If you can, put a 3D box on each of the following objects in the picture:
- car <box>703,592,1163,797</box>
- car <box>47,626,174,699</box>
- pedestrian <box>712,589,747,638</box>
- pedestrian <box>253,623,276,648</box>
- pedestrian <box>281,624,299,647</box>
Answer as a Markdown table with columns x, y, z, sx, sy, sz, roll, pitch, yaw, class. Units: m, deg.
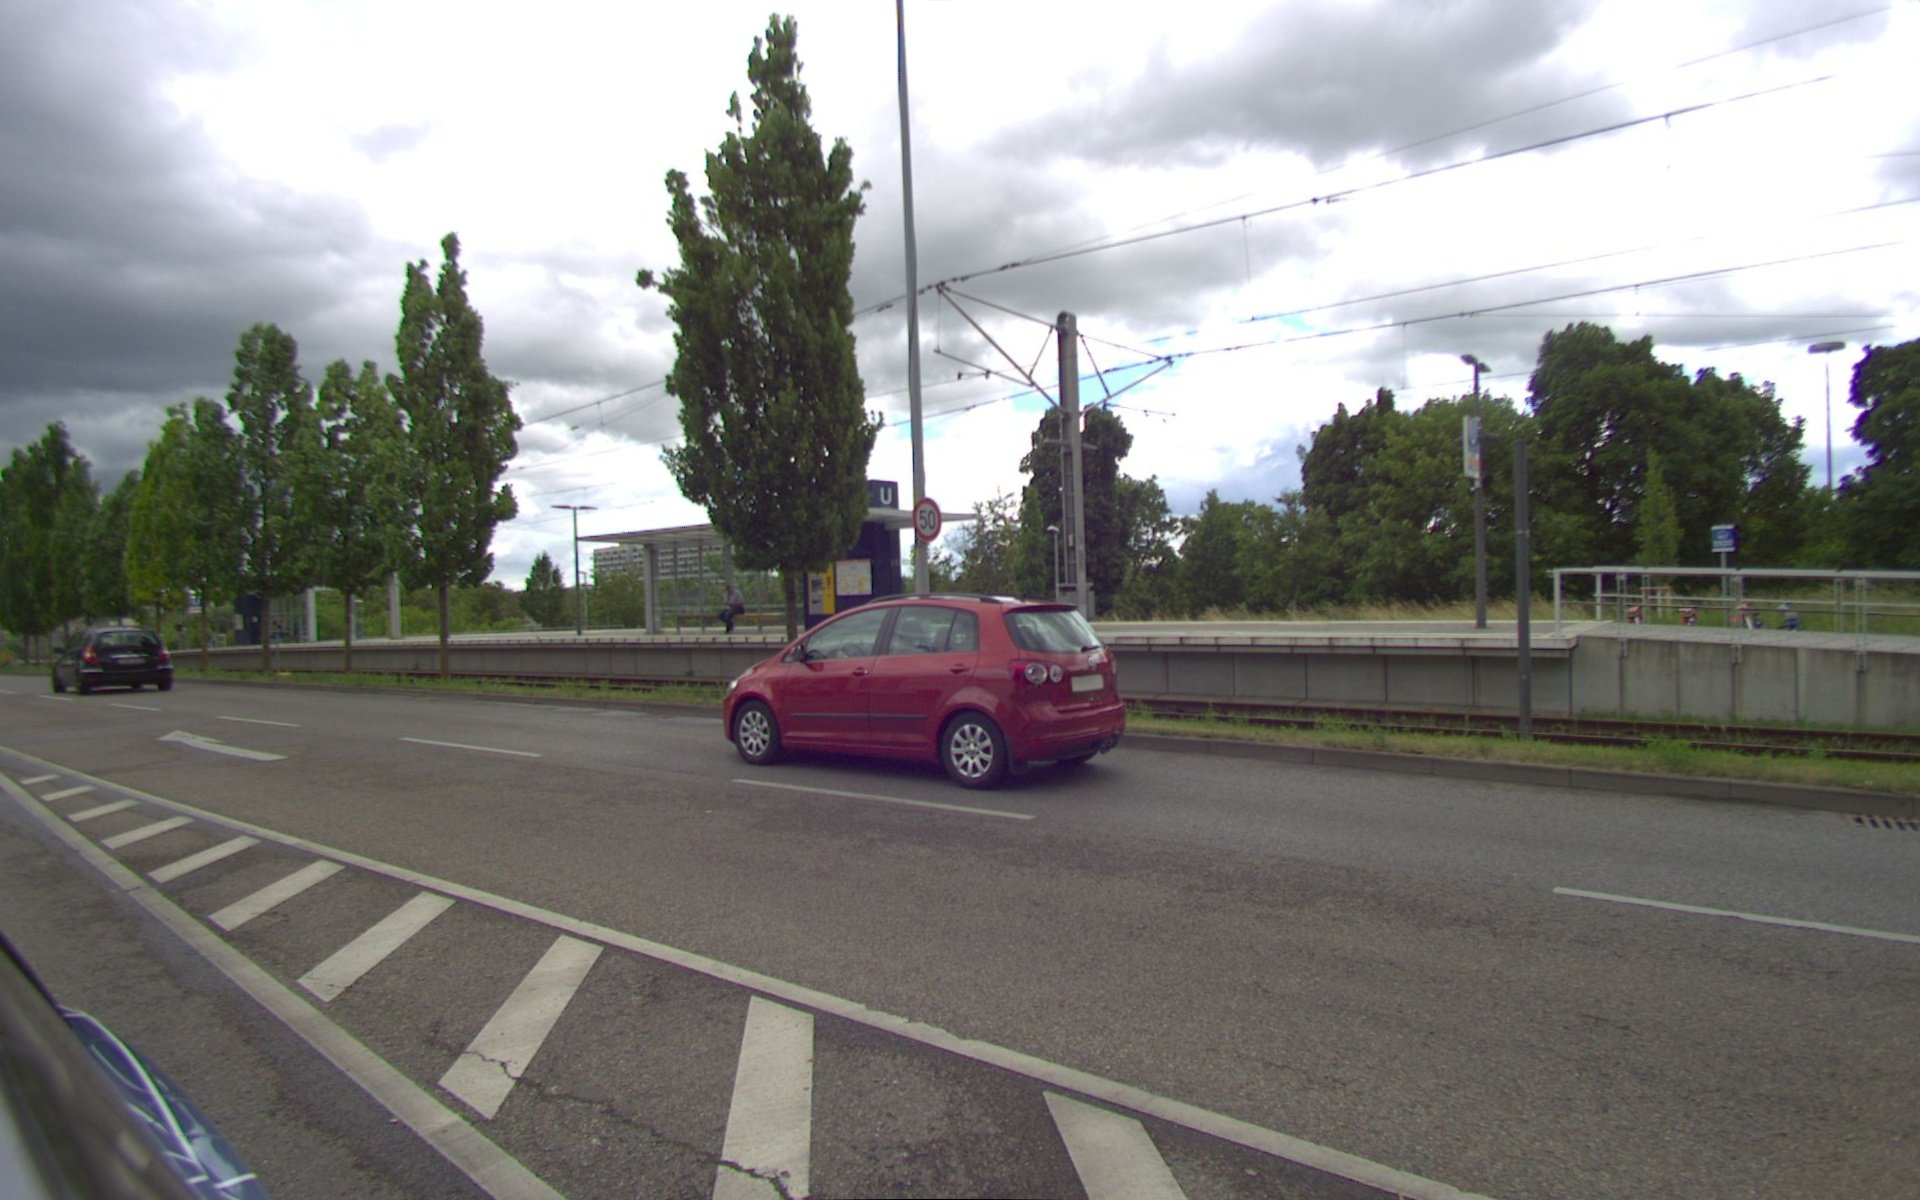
| x | y | z | sx | sy | sz | roll | pitch | yaw | class |
| --- | --- | --- | --- | --- | --- | --- | --- | --- | --- |
| -0.382 | 0.763 | 9.337 | 4.079 | 1.499 | 1.687 | -2 | -2 | 37 | car |
| -20.666 | 1.479 | 24.573 | 3.703 | 1.585 | 1.708 | -2 | -1 | 39 | car |
| -6.245 | 0.370 | 27.409 | 0.658 | 1.279 | 0.604 | -5 | -3 | 36 | pedestrian |
| -34.602 | 1.761 | 50.346 | 0.665 | 1.208 | 0.753 | -4 | -2 | 40 | pedestrian |
| -33.319 | 1.777 | 50.332 | 0.470 | 1.087 | 0.601 | -5 | -3 | 40 | pedestrian |
